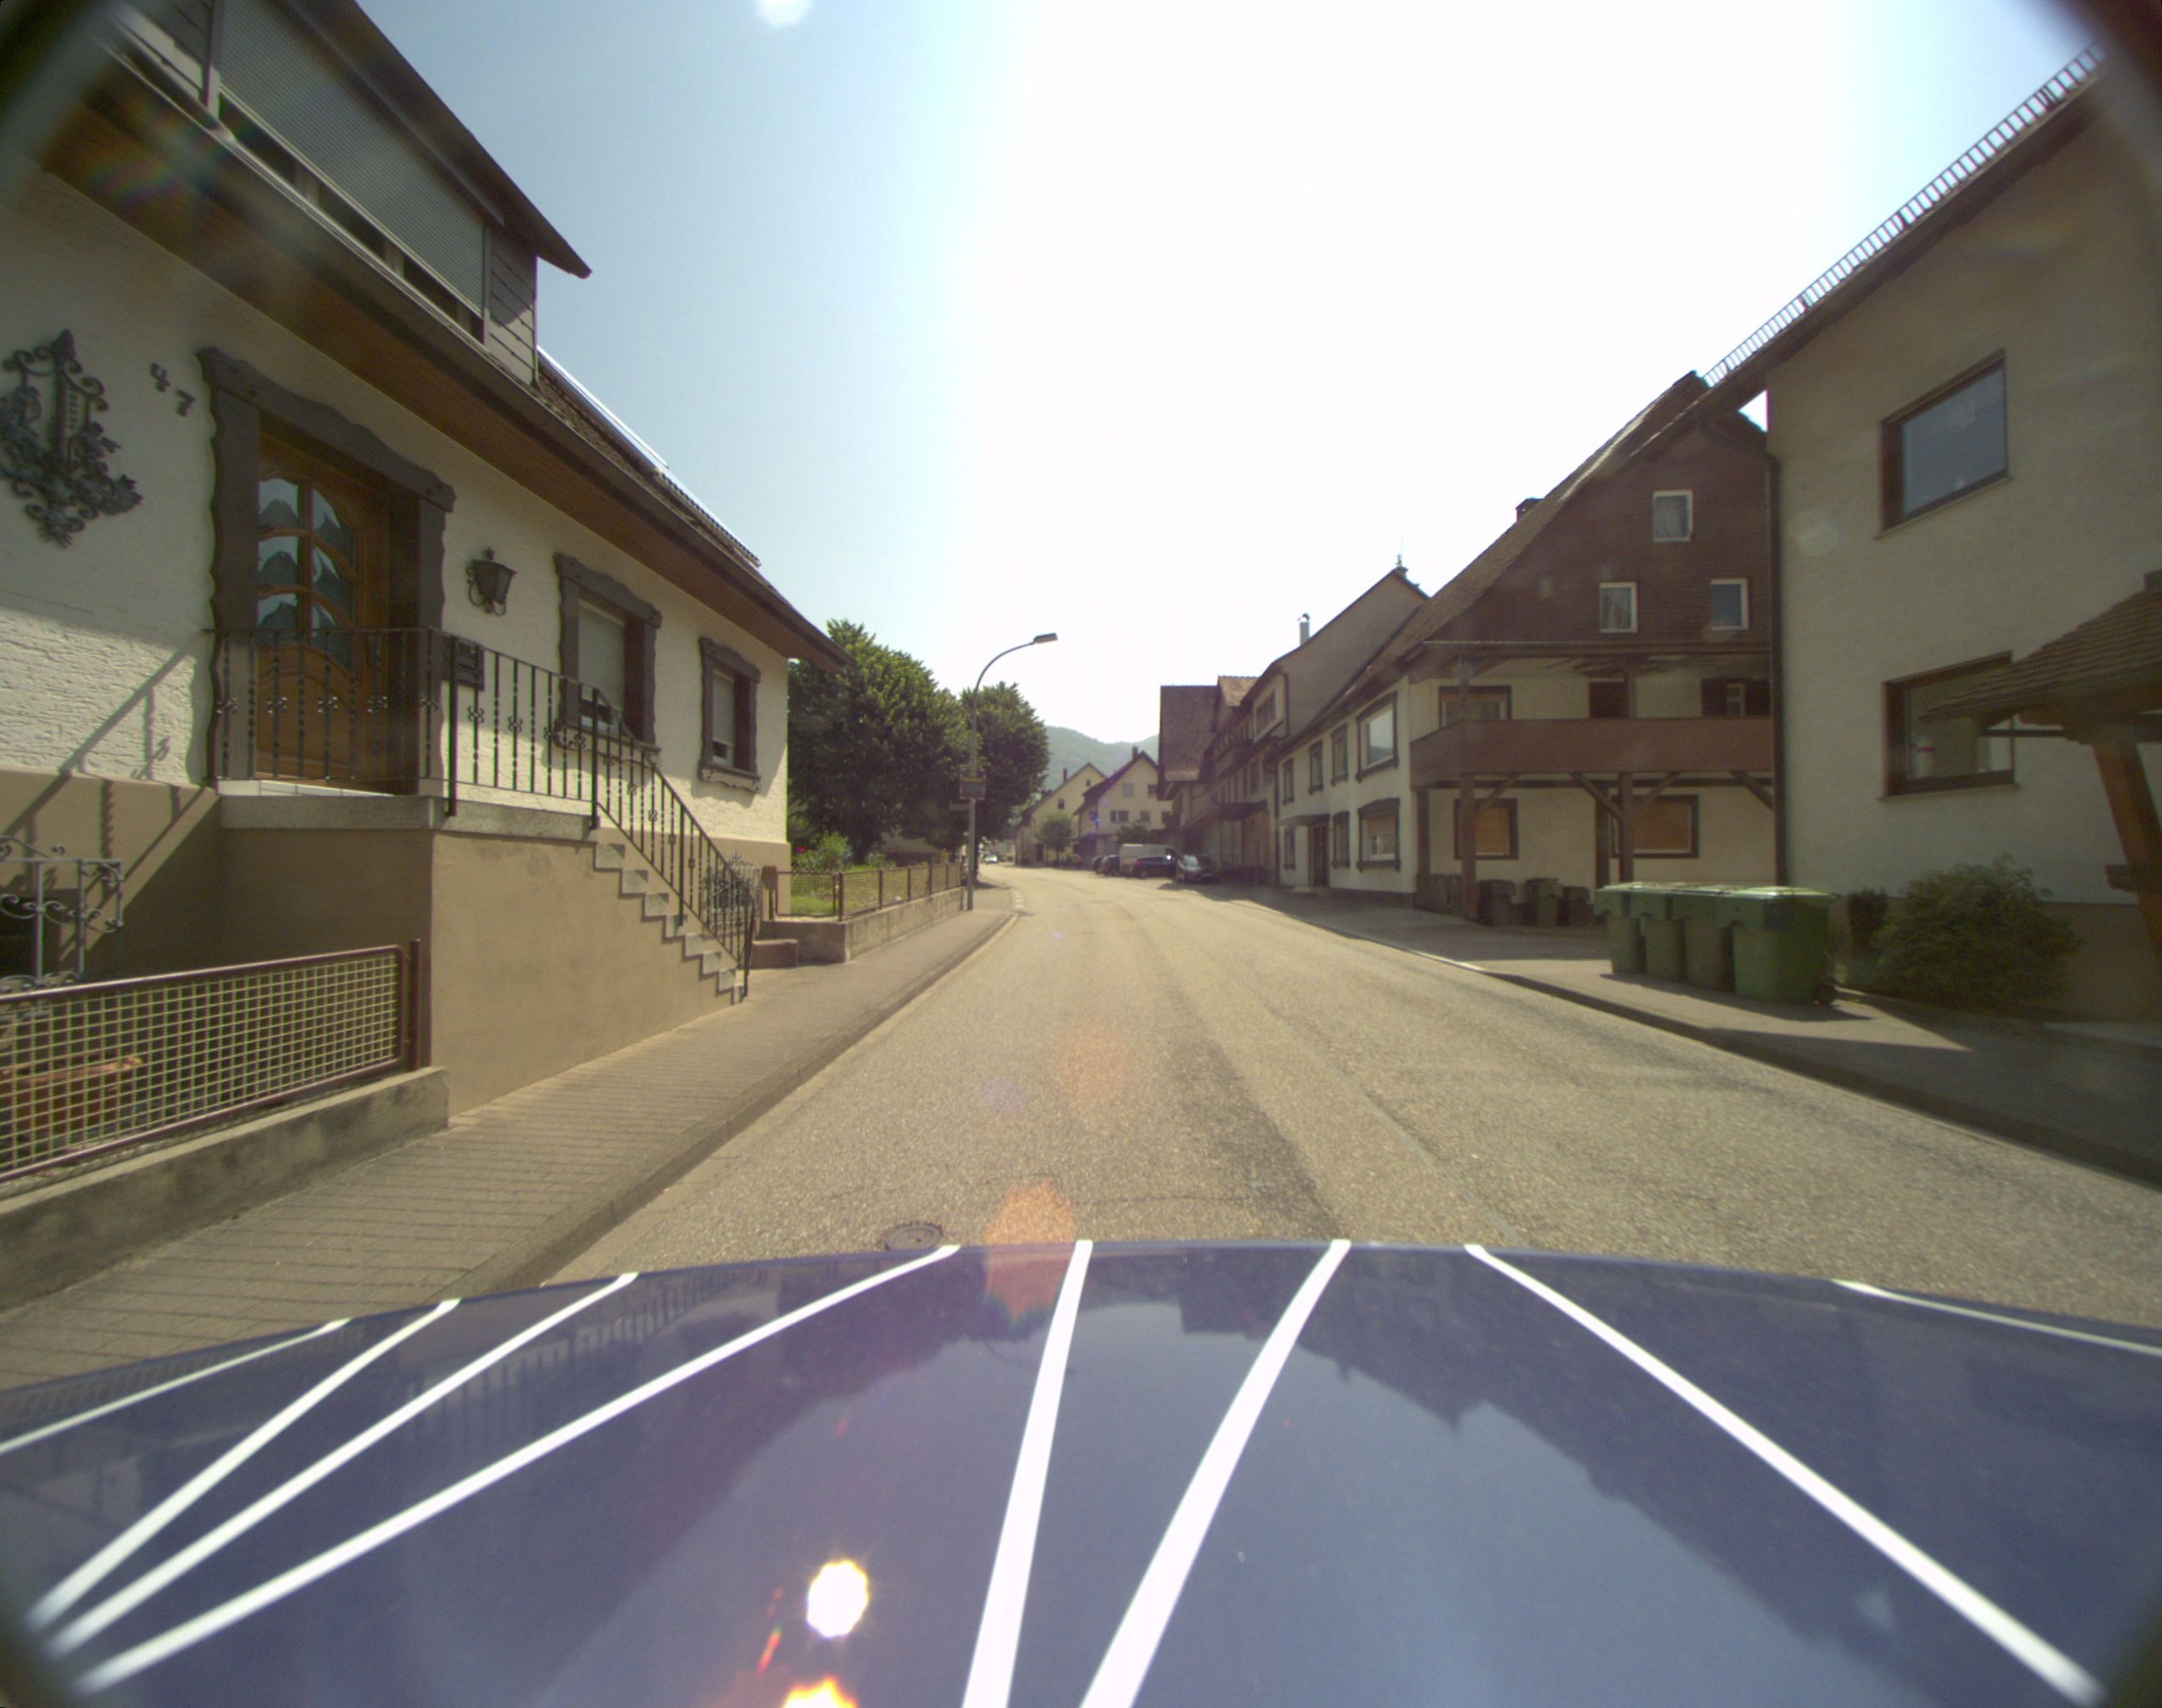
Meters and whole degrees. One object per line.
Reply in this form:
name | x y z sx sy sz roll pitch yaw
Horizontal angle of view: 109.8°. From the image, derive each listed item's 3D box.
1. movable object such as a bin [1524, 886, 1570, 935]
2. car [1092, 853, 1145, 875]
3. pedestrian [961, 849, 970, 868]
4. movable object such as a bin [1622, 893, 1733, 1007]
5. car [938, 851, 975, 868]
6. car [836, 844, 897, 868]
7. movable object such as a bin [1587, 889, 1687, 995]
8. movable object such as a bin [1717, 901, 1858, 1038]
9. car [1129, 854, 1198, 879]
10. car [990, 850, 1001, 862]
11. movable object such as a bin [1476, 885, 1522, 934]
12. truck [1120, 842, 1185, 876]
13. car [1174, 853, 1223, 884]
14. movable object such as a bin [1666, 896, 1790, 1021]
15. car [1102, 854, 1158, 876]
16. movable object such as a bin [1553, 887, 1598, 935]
movable object such as a bin | 10.549 1.274 17.213 0.608 1.045 0.632 2 1 1
car | 2.928 0.766 59.355 3.996 1.563 1.577 2 0 3
pedestrian | -10.633 0.419 70.144 0.682 1.661 0.712 2 0 1
movable object such as a bin | 6.603 1.043 8.436 0.719 1.174 0.598 2 0 2
car | -12.736 0.573 77.986 3.339 1.587 1.652 2 0 14
car | -14.428 0.145 51.290 3.847 1.398 1.564 3 0 -13
movable object such as a bin | 6.636 1.036 9.095 0.719 1.174 0.598 2 0 2
movable object such as a bin | 6.620 1.056 7.152 0.719 1.174 0.598 2 0 2
car | 5.105 0.755 47.335 4.105 1.494 1.753 0 0 0
car | -15.957 0.407 141.721 1.999 2.002 3.997 -4 1 -6
movable object such as a bin | 9.507 1.243 17.297 0.623 1.045 0.696 2 1 1
truck | 4.885 0.321 52.362 4.178 2.253 1.999 -1 0 -4
car | 6.140 0.732 40.133 1.774 1.544 4.285 -1 0 -1
movable object such as a bin | 6.600 1.050 7.784 0.719 1.174 0.598 2 0 2
car | 3.595 0.791 56.330 3.998 1.444 1.627 2 0 -3
movable object such as a bin | 11.226 1.285 17.264 0.599 1.045 0.600 2 1 1
